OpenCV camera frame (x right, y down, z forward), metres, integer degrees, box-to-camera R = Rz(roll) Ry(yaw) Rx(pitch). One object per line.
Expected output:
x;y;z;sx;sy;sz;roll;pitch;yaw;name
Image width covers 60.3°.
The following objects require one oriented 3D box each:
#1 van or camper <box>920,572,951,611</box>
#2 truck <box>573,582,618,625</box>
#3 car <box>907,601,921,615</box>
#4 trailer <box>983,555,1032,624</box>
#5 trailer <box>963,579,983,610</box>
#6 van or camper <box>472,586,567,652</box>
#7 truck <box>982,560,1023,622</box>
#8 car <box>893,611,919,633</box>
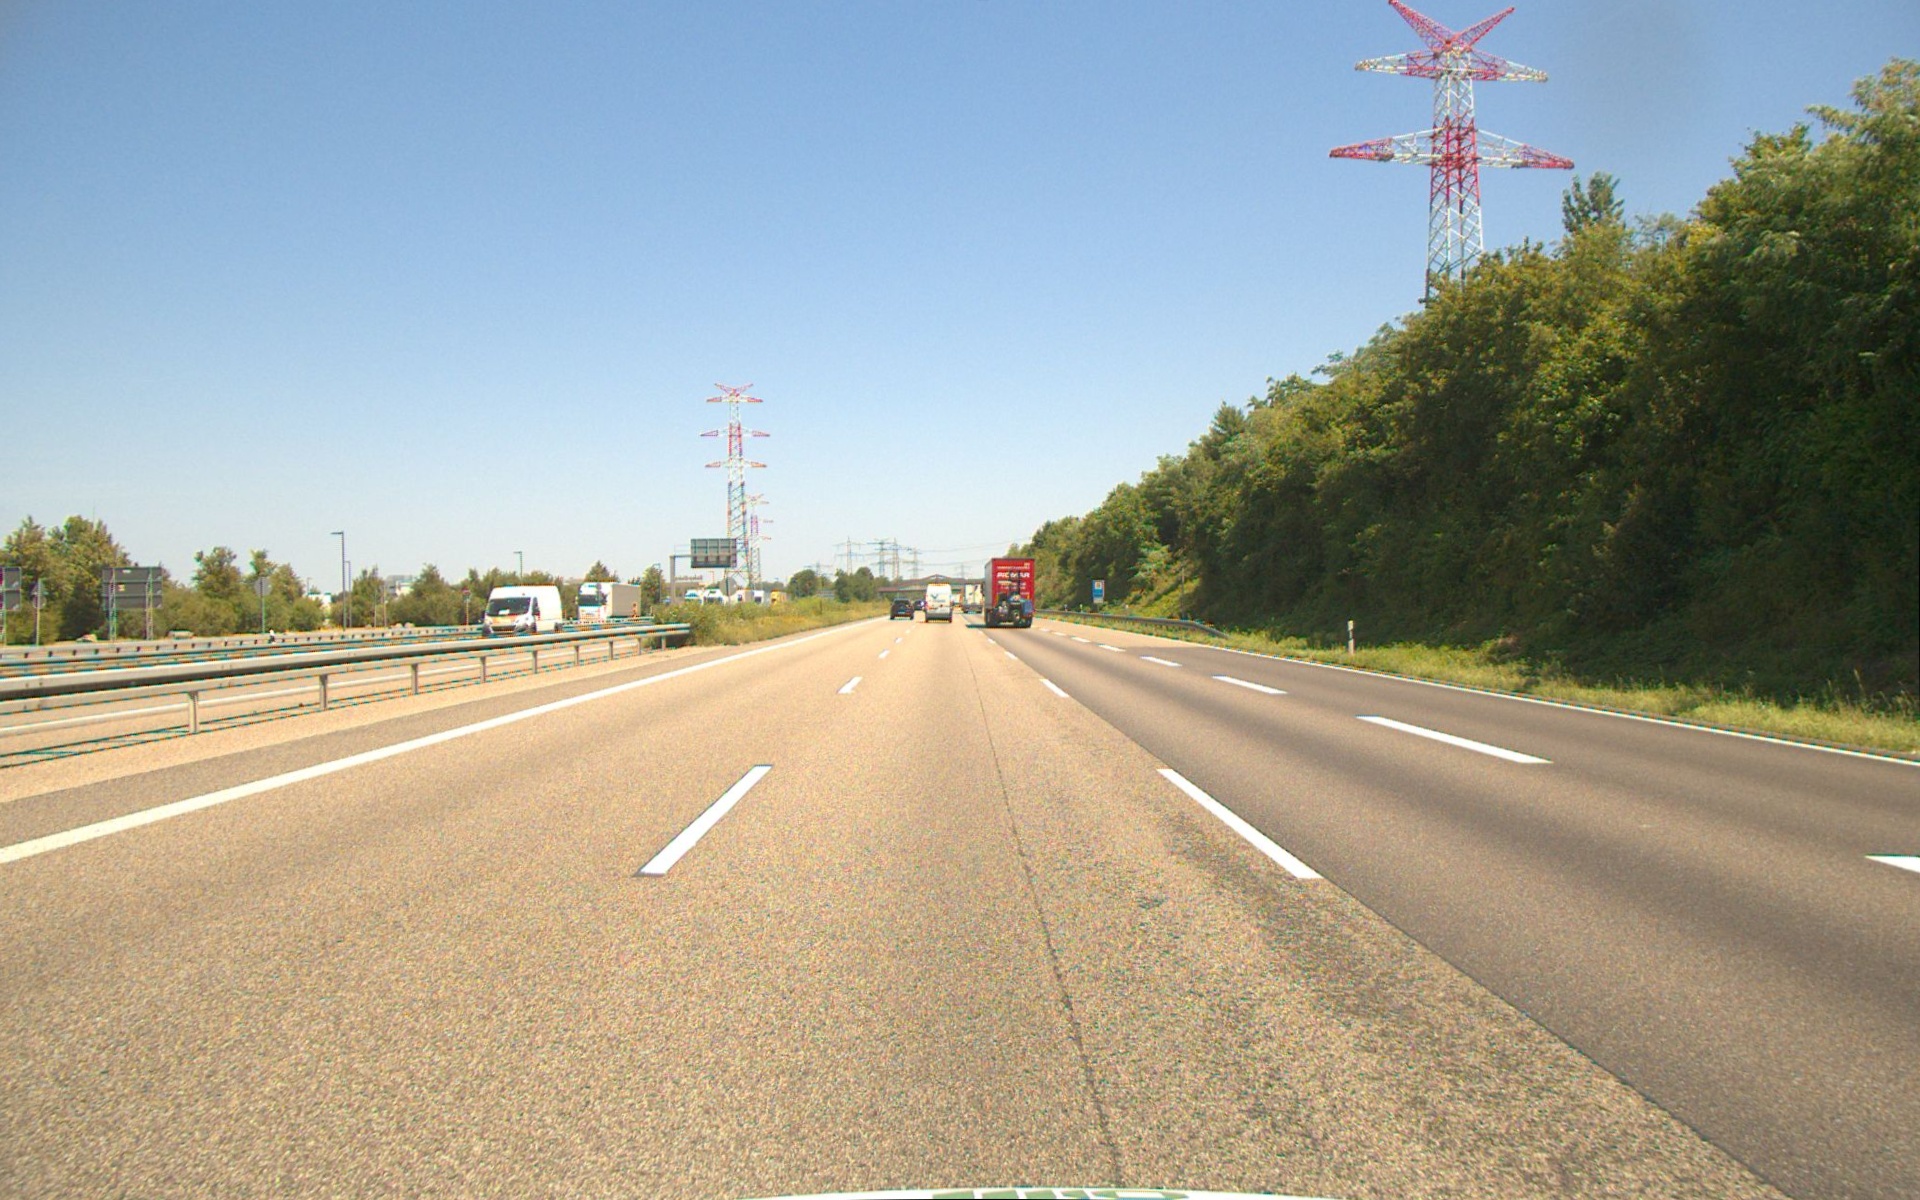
-1.788;-0.605;122.500;2.184;2.831;5.422;1;0;0;van or camper
-33.008;0.333;150.032;2.742;3.707;6.145;1;0;-1;truck
-7.010;1.226;251.611;1.931;2.047;4.196;1;0;-1;car
2.846;-0.578;102.866;2.439;3.978;14.243;0;0;-1;trailer
1.823;-0.694;229.034;2.583;4.131;12.366;1;0;1;trailer
-18.388;0.770;69.408;2.369;2.627;6.365;0;0;-1;van or camper
2.760;-0.537;109.859;2.448;3.988;7.095;0;0;-1;truck
-4.618;1.845;142.020;1.941;1.849;3.813;1;0;2;car
